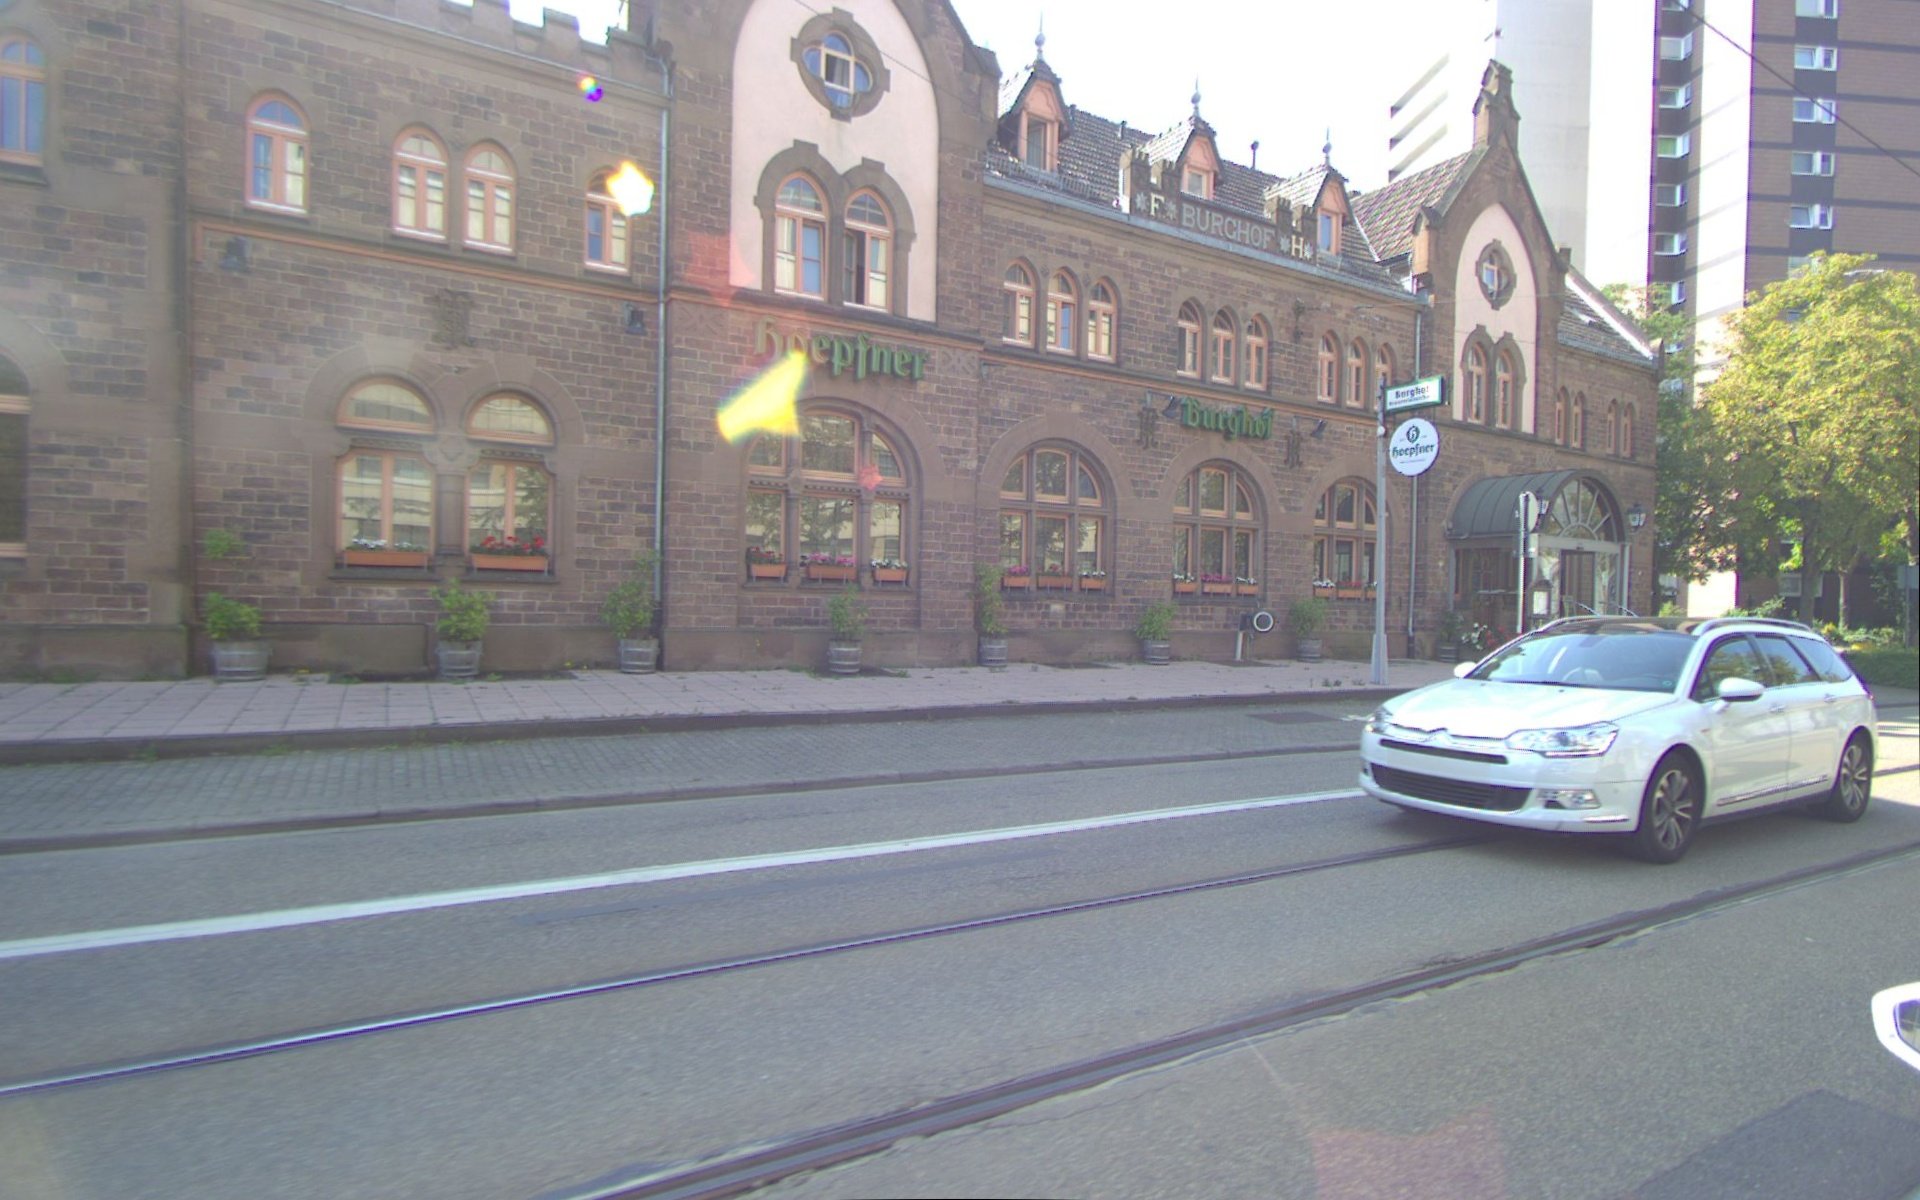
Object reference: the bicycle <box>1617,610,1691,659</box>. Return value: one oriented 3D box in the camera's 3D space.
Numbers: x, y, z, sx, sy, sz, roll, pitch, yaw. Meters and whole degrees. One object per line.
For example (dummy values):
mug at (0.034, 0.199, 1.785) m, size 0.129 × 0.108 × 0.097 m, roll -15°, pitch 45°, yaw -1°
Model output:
bicycle at (17.738, 0.871, 25.707) m, size 0.395 × 1.108 × 1.442 m, roll 1°, pitch 4°, yaw -33°

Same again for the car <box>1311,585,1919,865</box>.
car at (4.991, 0.717, 7.430) m, size 4.809 × 1.511 × 1.838 m, roll 1°, pitch -1°, yaw -30°
